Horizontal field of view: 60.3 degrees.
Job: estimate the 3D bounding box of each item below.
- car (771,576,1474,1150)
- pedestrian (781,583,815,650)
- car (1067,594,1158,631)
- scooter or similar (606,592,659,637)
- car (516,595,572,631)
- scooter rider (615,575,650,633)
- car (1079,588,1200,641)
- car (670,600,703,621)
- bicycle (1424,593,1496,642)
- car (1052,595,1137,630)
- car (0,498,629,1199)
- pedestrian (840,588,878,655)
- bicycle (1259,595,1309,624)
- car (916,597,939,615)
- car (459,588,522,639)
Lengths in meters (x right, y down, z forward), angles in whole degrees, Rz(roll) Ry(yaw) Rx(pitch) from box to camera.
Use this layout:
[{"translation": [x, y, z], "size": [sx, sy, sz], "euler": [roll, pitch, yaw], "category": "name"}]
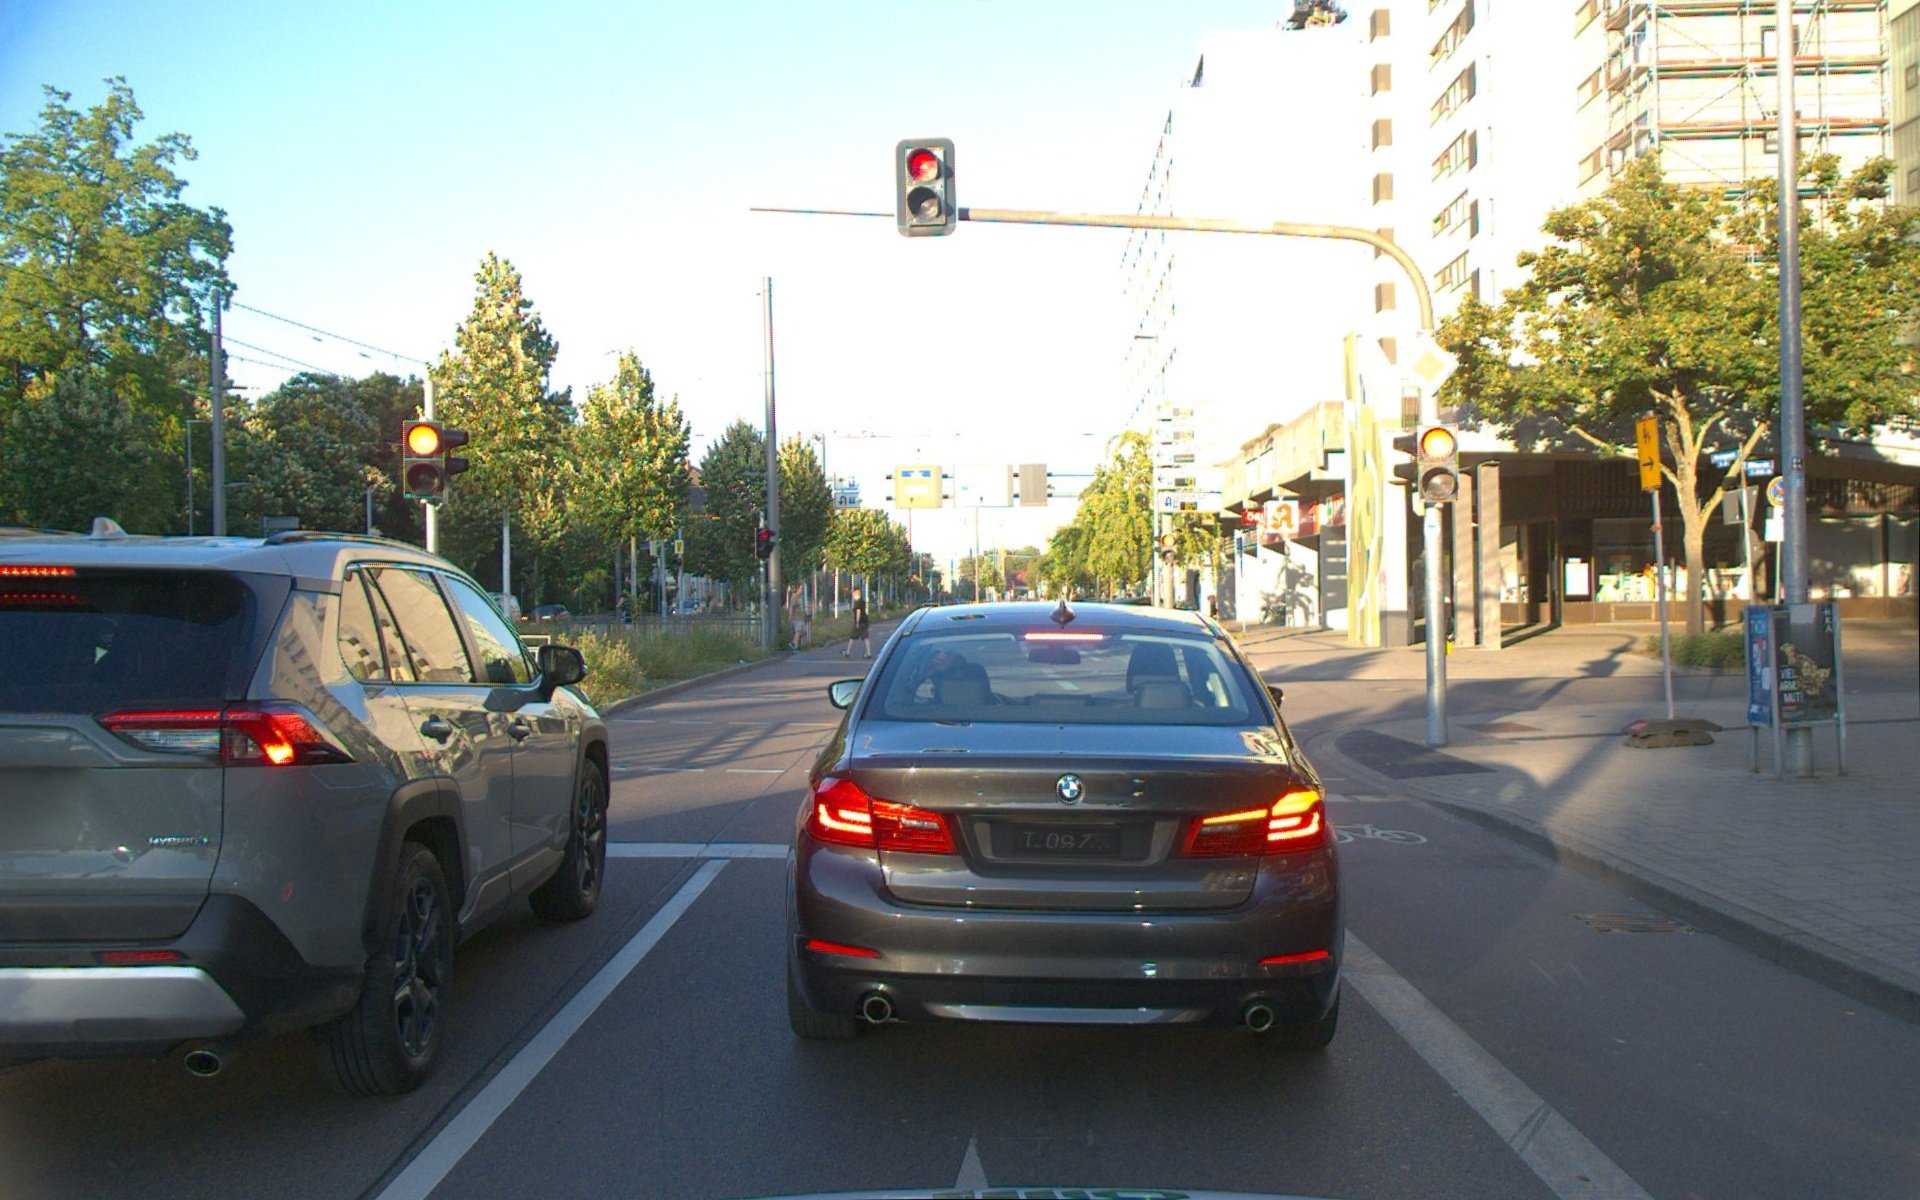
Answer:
[{"translation": [0.550, 0.675, 6.751], "size": [1.891, 1.507, 4.524], "euler": [0, 1, 3], "category": "car"}, {"translation": [-4.292, 0.442, 43.821], "size": [0.818, 1.742, 0.647], "euler": [-1, 0, -1], "category": "pedestrian"}, {"translation": [7.307, 0.588, 79.266], "size": [4.221, 1.687, 1.837], "euler": [-1, 1, -36], "category": "car"}, {"translation": [-8.826, 0.388, 44.575], "size": [1.303, 1.173, 0.513], "euler": [-1, 0, -3], "category": "scooter or similar"}, {"translation": [-22.526, 0.673, 89.744], "size": [1.953, 1.775, 4.750], "euler": [0, 1, -2], "category": "car"}, {"translation": [-8.837, 0.107, 44.607], "size": [0.804, 1.540, 0.652], "euler": [-1, 0, -3], "category": "scooter rider"}, {"translation": [6.194, 0.457, 56.870], "size": [4.234, 1.687, 1.831], "euler": [-1, 2, -43], "category": "car"}, {"translation": [-19.969, 0.752, 120.912], "size": [1.763, 1.507, 3.783], "euler": [-1, 0, 0], "category": "car"}, {"translation": [12.551, 0.429, 41.602], "size": [0.678, 1.169, 2.012], "euler": [2, -1, -18], "category": "bicycle"}, {"translation": [6.953, 0.613, 85.335], "size": [4.219, 1.687, 1.838], "euler": [0, 1, -35], "category": "car"}, {"translation": [-2.486, 0.559, 5.989], "size": [1.817, 1.687, 4.267], "euler": [0, 1, -2], "category": "car"}, {"translation": [-2.470, 0.524, 40.555], "size": [0.817, 1.614, 0.812], "euler": [-1, 0, 3], "category": "pedestrian"}, {"translation": [13.548, 0.400, 69.243], "size": [1.974, 1.169, 0.691], "euler": [2, -1, 6], "category": "bicycle"}, {"translation": [-2.849, 0.483, 146.993], "size": [1.938, 1.458, 4.843], "euler": [0, 1, 0], "category": "car"}, {"translation": [-21.458, 0.572, 75.725], "size": [1.955, 2.206, 4.745], "euler": [0, 1, -6], "category": "car"}]
